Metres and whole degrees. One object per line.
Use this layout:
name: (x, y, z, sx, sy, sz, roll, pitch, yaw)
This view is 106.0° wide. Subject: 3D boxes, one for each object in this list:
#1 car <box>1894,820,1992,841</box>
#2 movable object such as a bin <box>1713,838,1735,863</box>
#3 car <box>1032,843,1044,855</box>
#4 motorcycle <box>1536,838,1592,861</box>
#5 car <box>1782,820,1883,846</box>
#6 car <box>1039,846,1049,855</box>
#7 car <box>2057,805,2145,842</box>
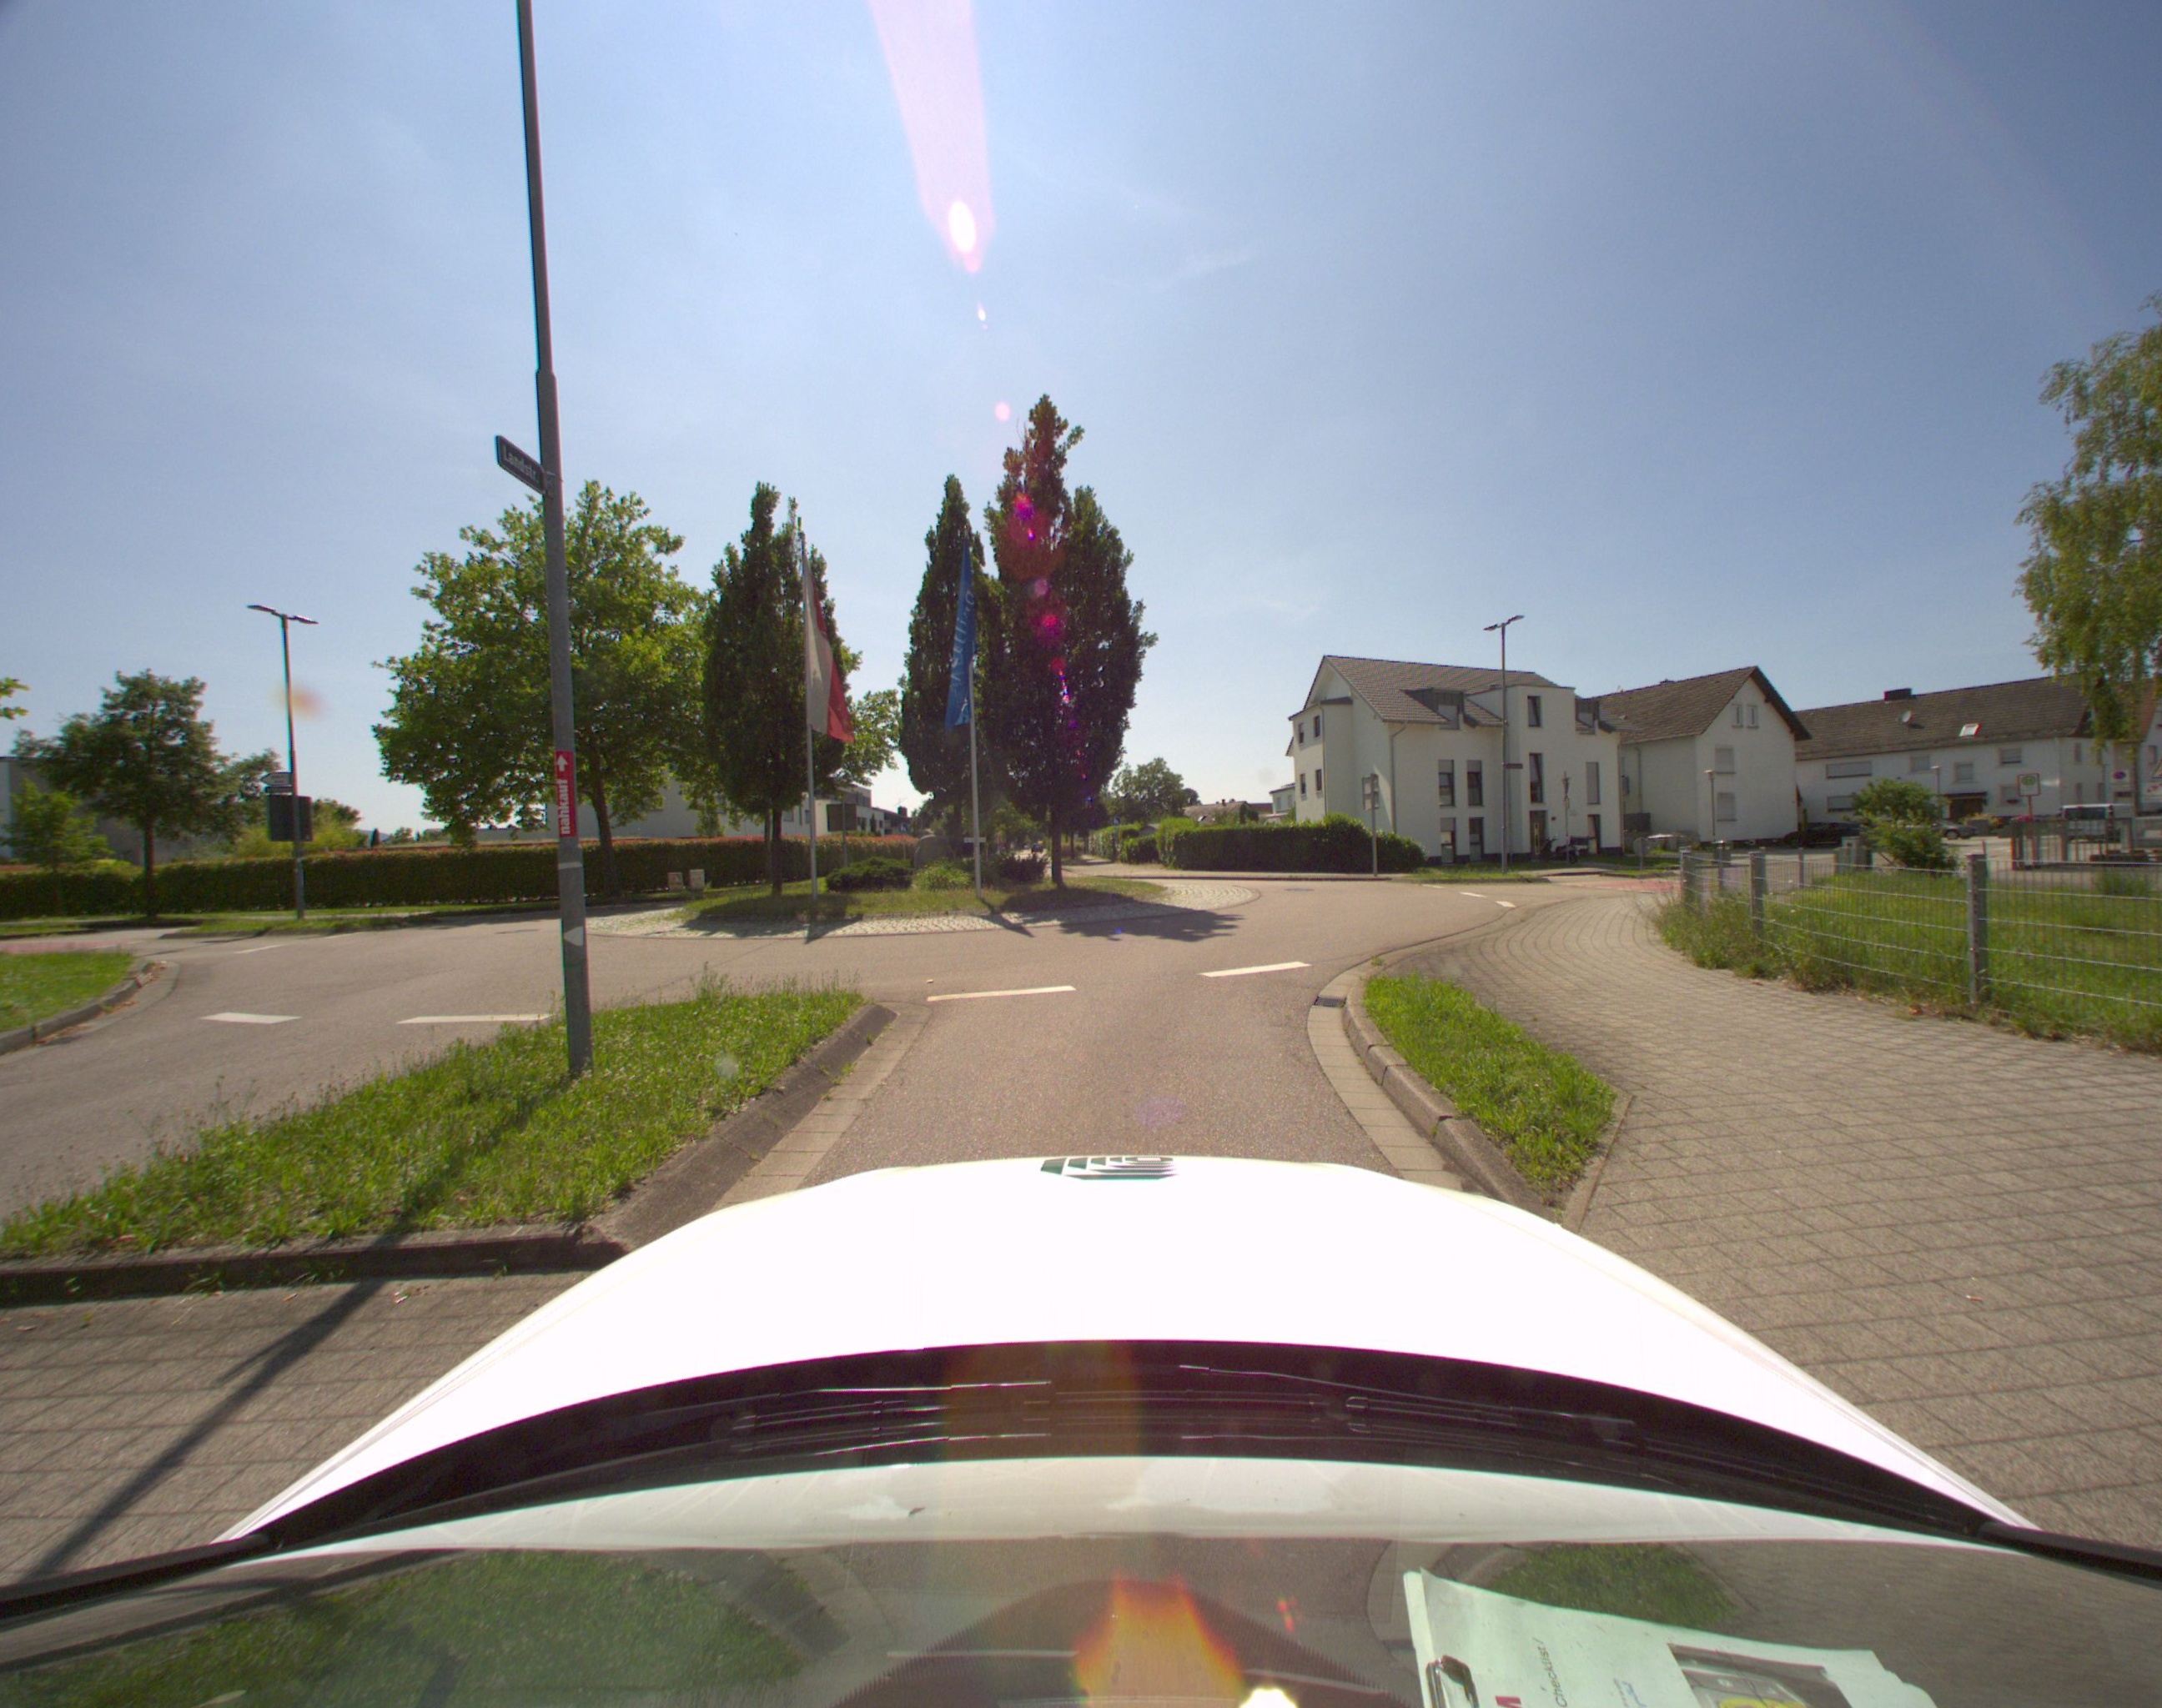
car: (55.488, -1.509, 52.504, 1.844, 1.190, 3.966, -2, 1, -26)
movable object such as a bin: (29.035, -0.167, 36.790, 0.458, 1.083, 0.644, -2, 1, -16)
car: (-6.987, -0.782, 133.892, 1.918, 1.886, 3.996, -1, 0, -3)
motorcycle: (22.322, -0.209, 37.675, 0.672, 1.013, 2.353, 0, 0, -20)
car: (43.694, -1.215, 47.432, 1.663, 1.383, 3.966, -2, 1, -26)
car: (-7.430, -0.652, 165.167, 1.988, 1.770, 3.997, -1, 0, -2)
car: (52.112, -1.524, 41.621, 4.005, 1.787, 1.843, -1, 0, -24)
